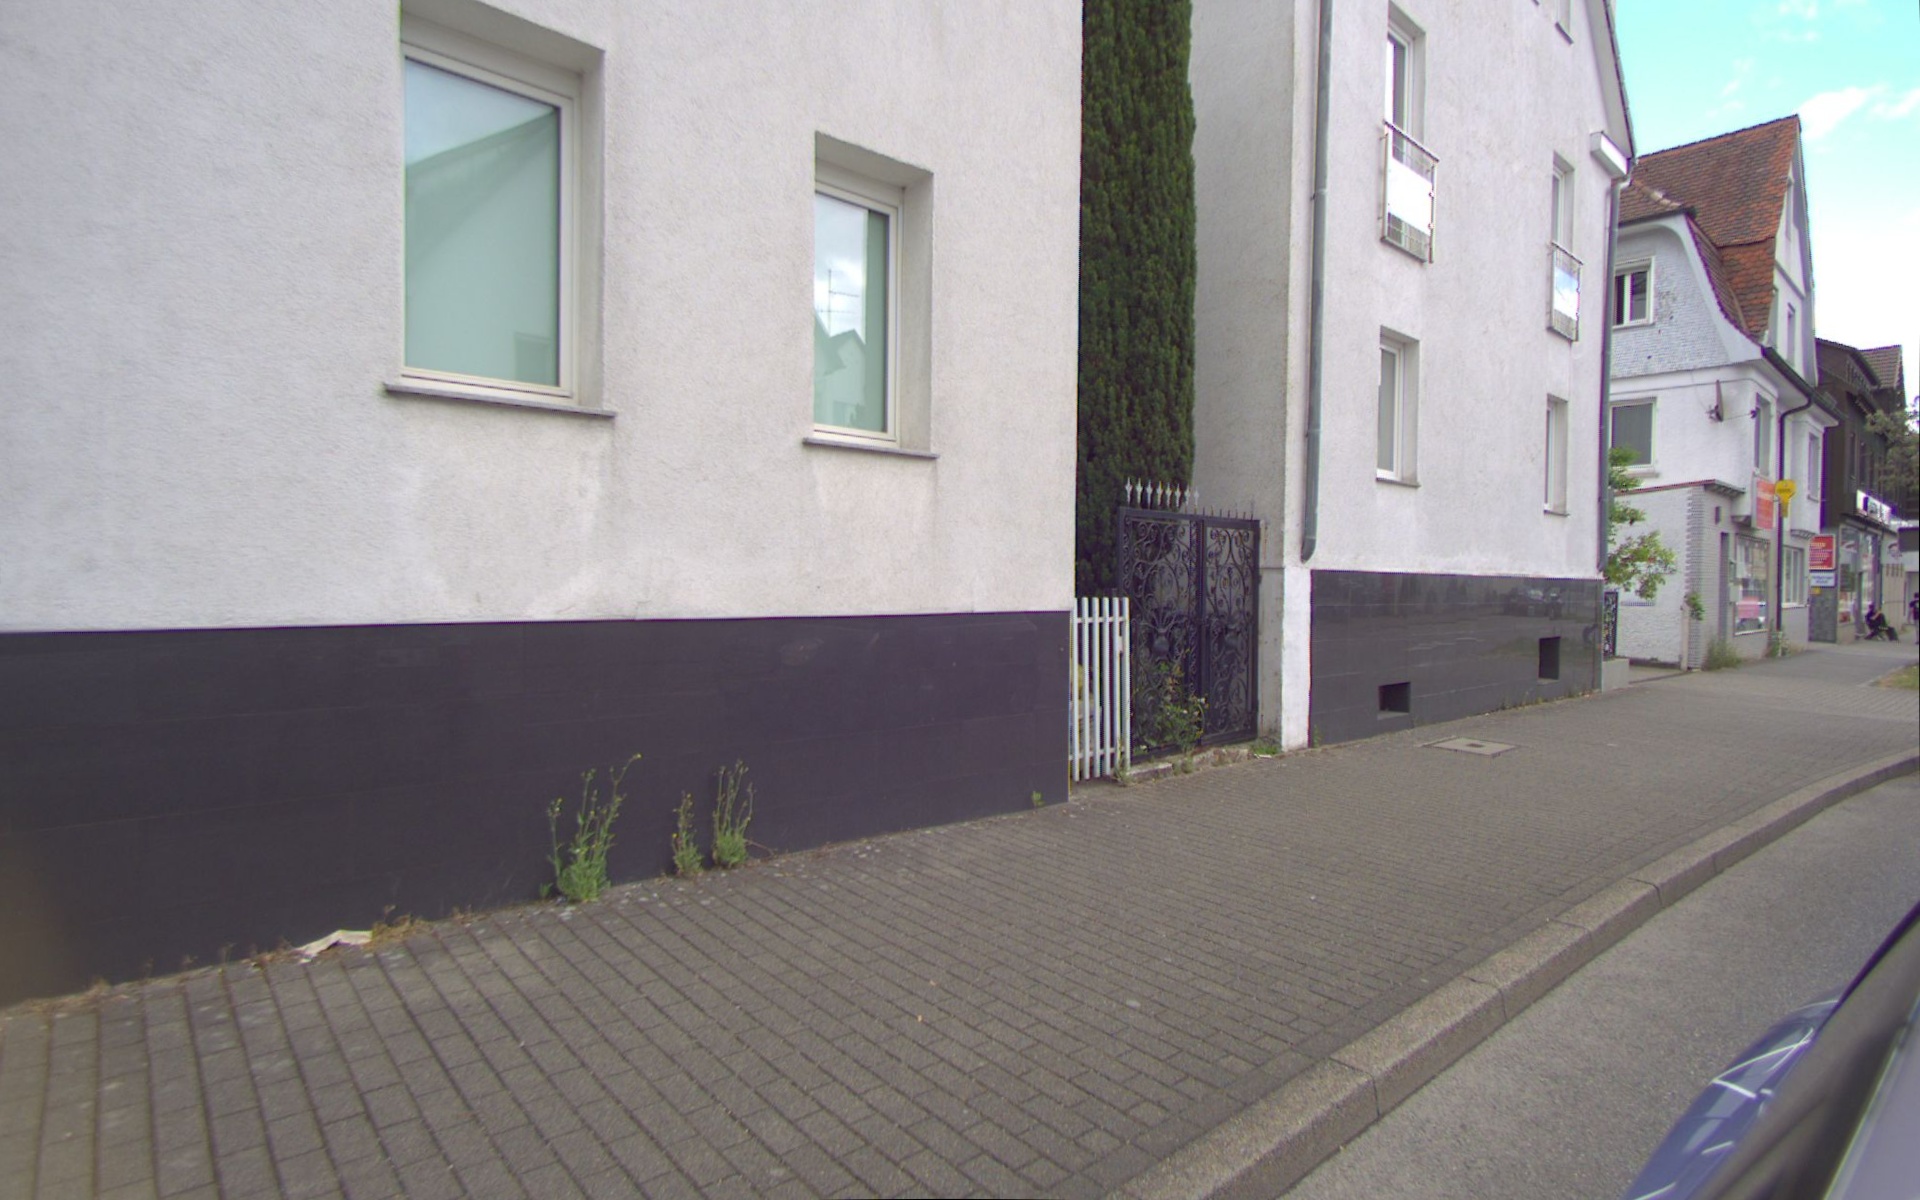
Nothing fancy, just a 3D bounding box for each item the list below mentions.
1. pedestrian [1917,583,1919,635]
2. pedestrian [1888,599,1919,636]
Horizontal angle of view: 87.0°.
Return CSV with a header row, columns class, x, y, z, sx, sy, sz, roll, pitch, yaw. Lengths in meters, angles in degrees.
class,x,y,z,sx,sy,sz,roll,pitch,yaw
pedestrian,32.626,0.310,33.996,0.642,1.762,0.731,3,2,43
pedestrian,32.746,0.594,35.084,0.633,1.226,0.741,0,2,-42
